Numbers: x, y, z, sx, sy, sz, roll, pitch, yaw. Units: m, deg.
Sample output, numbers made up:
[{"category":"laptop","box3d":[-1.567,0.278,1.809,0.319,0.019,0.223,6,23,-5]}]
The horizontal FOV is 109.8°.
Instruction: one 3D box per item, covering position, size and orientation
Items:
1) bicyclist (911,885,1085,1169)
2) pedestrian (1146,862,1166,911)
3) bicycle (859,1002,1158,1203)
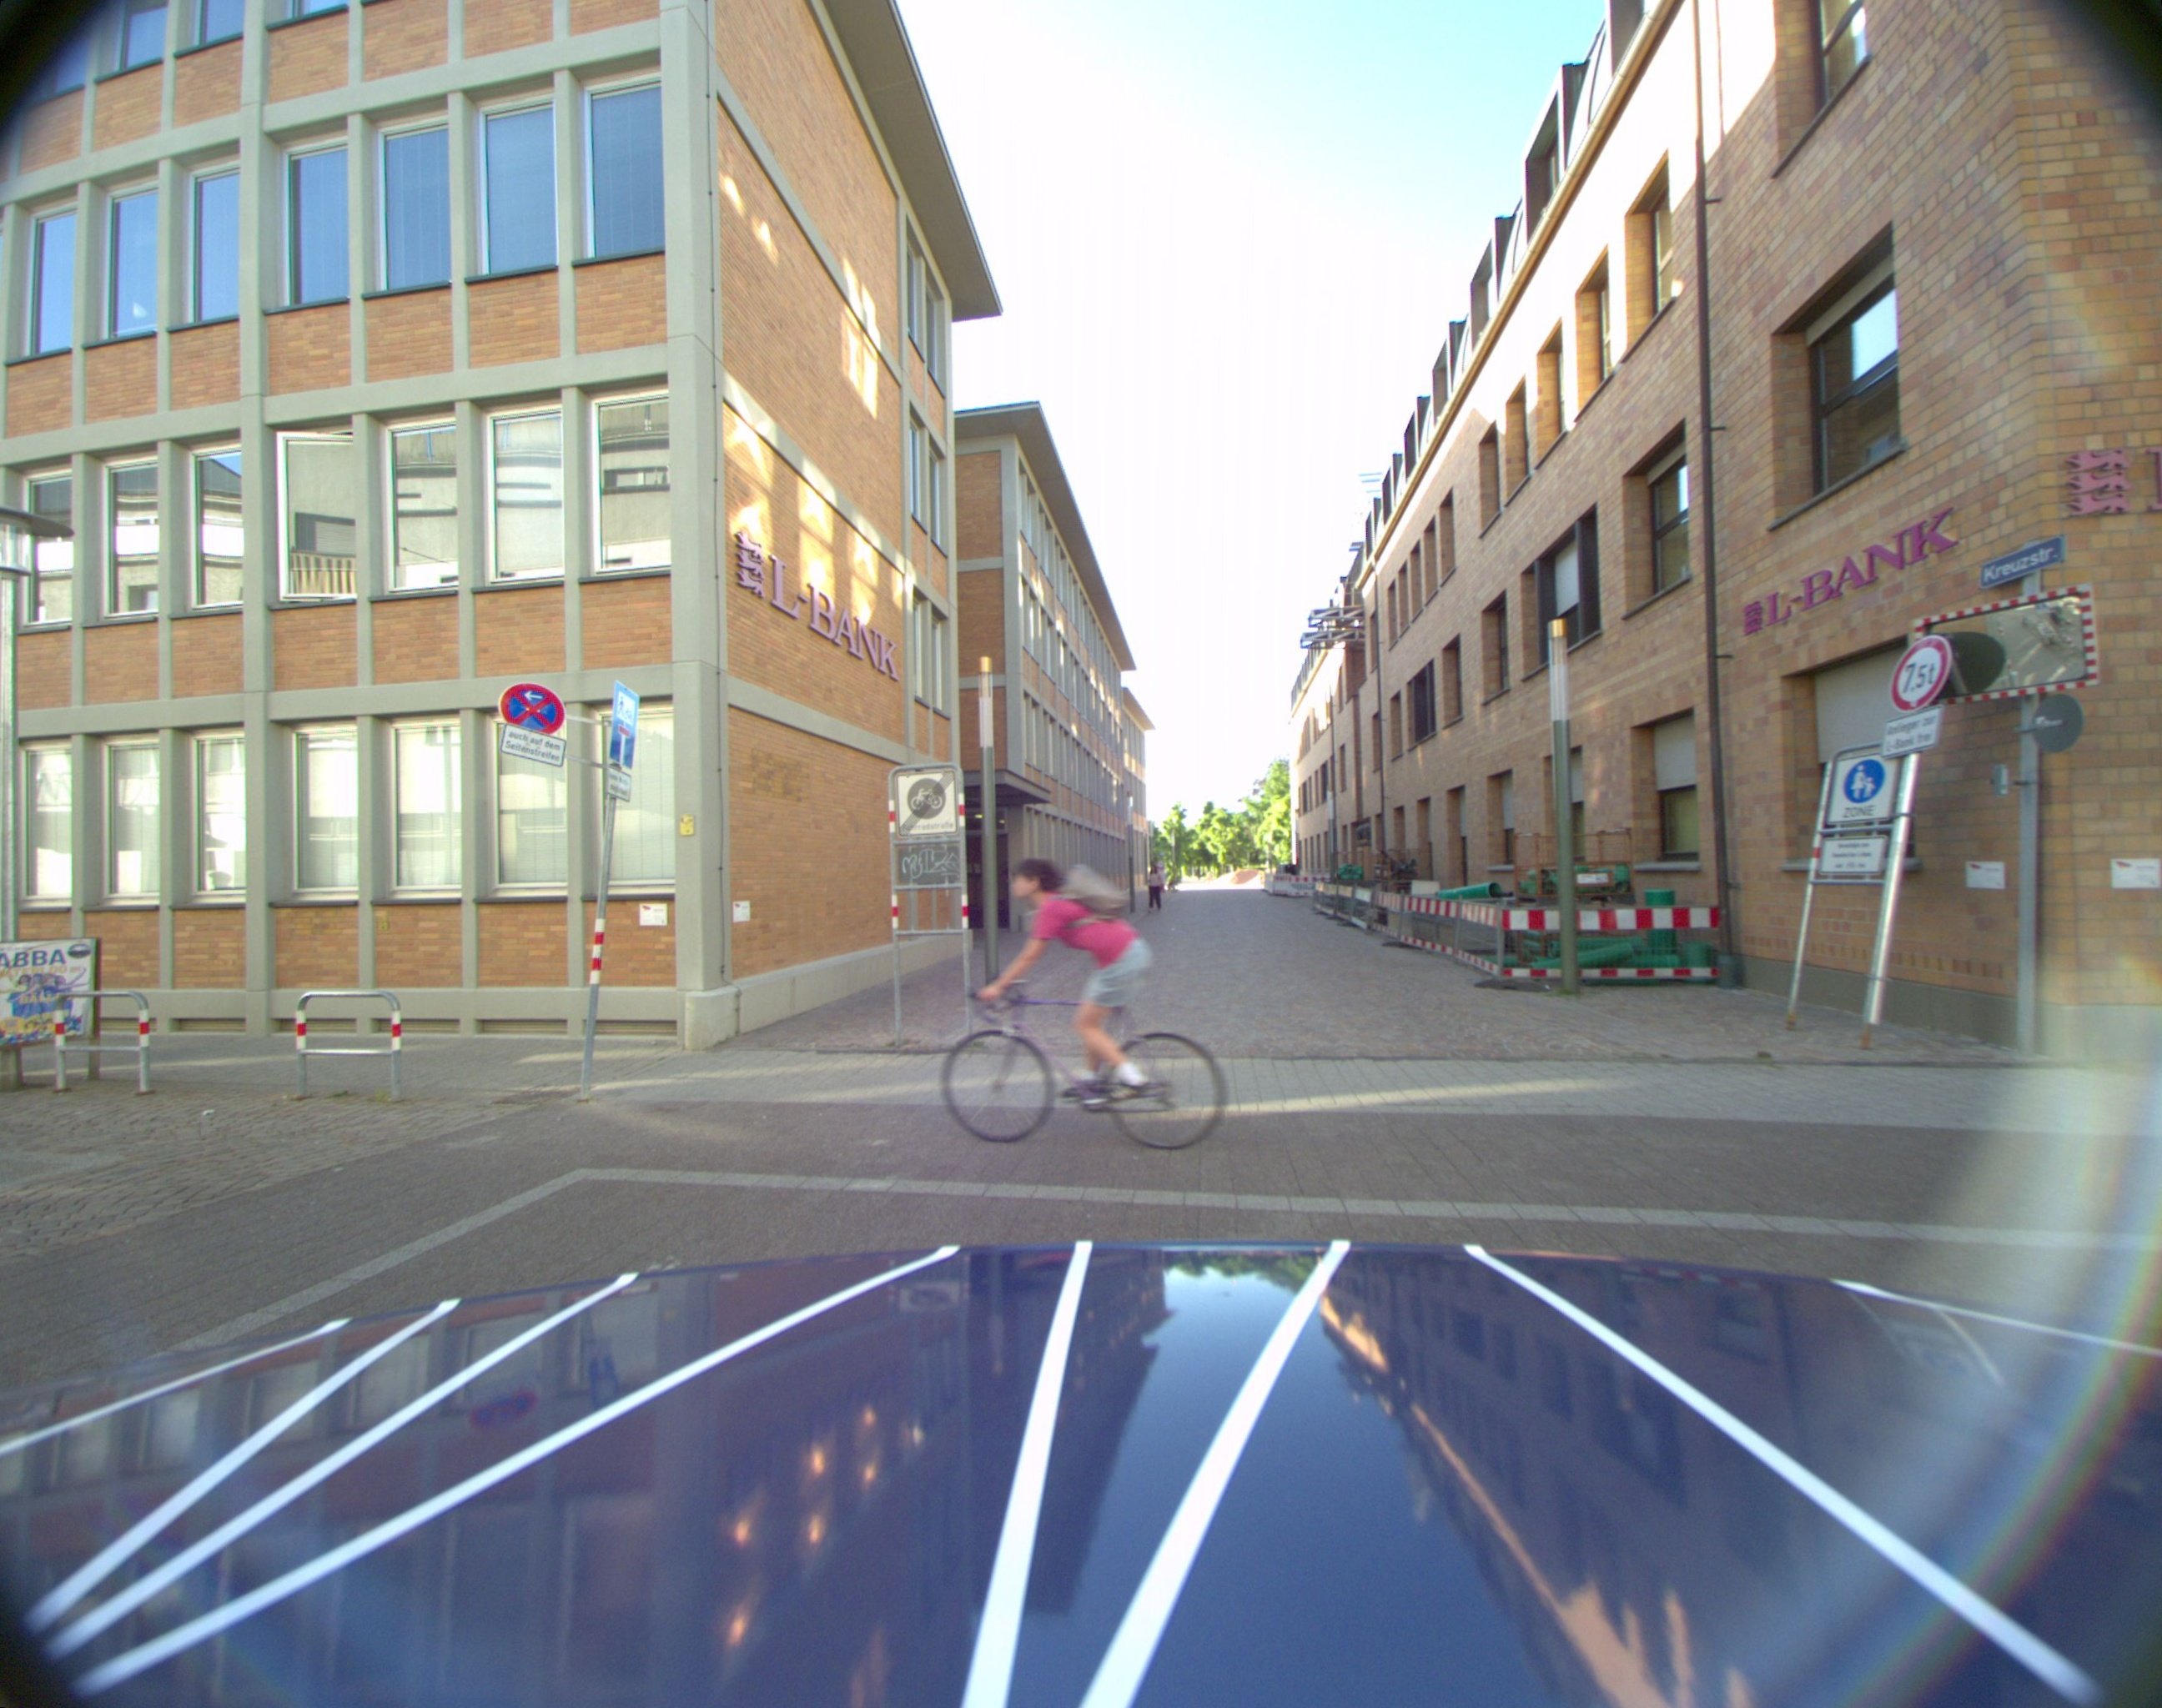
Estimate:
[{"category":"bicyclist","box3d":[-0.458,0.925,4.287,0.874,1.488,0.429,-1,-2,10]},{"category":"pedestrian","box3d":[2.769,1.211,28.122,0.638,1.774,0.653,-1,-3,10]},{"category":"bicycle","box3d":[-0.390,1.348,4.264,1.588,0.951,0.436,-2,0,9]}]
